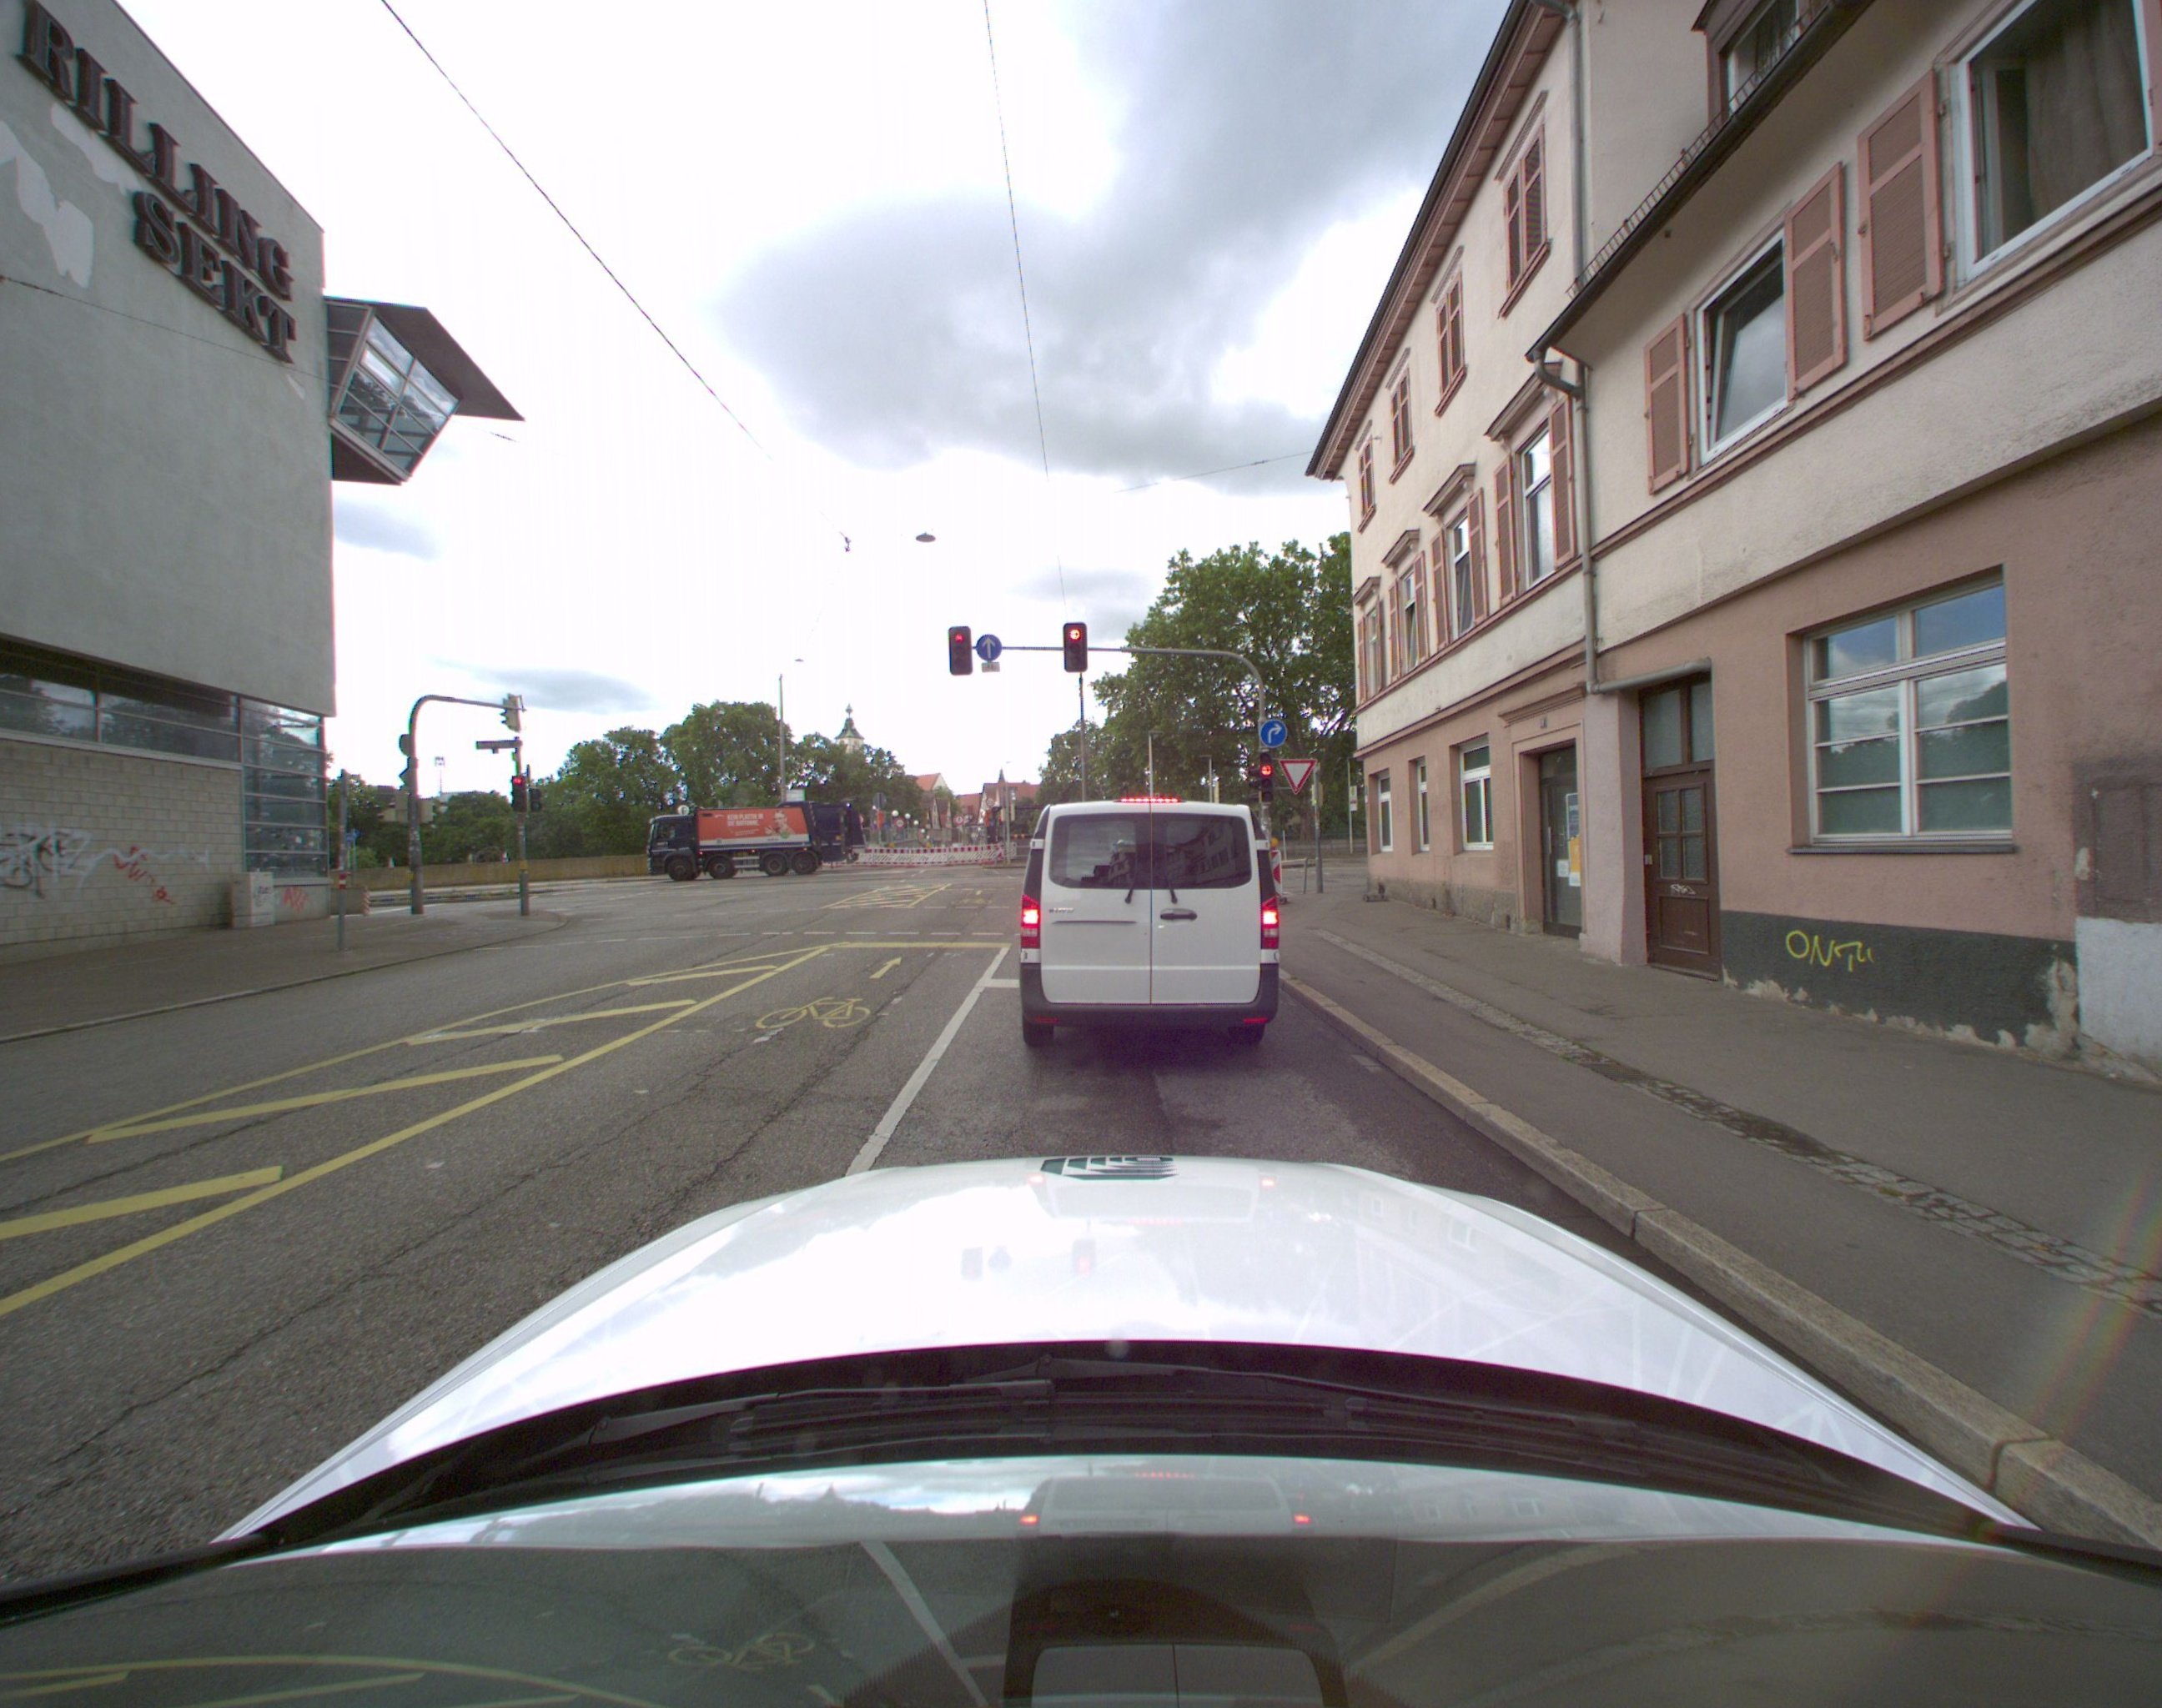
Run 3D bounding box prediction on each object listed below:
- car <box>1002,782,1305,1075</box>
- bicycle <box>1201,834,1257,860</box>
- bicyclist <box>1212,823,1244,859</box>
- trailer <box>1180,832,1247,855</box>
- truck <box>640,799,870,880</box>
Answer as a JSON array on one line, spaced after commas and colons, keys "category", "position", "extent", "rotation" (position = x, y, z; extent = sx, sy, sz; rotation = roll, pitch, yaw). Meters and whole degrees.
[{"category": "car", "position": [0.499, 0.428, 7.514], "extent": [1.987, 1.922, 4.249], "rotation": [-1, 2, 0]}, {"category": "bicycle", "position": [9.340, -0.440, 51.330], "extent": [3.147, 1.569, 1.464], "rotation": [-2, 0, -12]}, {"category": "bicyclist", "position": [9.244, -0.811, 51.314], "extent": [1.565, 2.156, 1.242], "rotation": [-2, 0, -12]}, {"category": "trailer", "position": [7.314, -0.565, 45.075], "extent": [3.200, 1.158, 1.994], "rotation": [-2, 0, -9]}, {"category": "truck", "position": [-15.664, -0.761, 39.989], "extent": [10.202, 3.696, 2.259], "rotation": [-1, 0, -15]}]
